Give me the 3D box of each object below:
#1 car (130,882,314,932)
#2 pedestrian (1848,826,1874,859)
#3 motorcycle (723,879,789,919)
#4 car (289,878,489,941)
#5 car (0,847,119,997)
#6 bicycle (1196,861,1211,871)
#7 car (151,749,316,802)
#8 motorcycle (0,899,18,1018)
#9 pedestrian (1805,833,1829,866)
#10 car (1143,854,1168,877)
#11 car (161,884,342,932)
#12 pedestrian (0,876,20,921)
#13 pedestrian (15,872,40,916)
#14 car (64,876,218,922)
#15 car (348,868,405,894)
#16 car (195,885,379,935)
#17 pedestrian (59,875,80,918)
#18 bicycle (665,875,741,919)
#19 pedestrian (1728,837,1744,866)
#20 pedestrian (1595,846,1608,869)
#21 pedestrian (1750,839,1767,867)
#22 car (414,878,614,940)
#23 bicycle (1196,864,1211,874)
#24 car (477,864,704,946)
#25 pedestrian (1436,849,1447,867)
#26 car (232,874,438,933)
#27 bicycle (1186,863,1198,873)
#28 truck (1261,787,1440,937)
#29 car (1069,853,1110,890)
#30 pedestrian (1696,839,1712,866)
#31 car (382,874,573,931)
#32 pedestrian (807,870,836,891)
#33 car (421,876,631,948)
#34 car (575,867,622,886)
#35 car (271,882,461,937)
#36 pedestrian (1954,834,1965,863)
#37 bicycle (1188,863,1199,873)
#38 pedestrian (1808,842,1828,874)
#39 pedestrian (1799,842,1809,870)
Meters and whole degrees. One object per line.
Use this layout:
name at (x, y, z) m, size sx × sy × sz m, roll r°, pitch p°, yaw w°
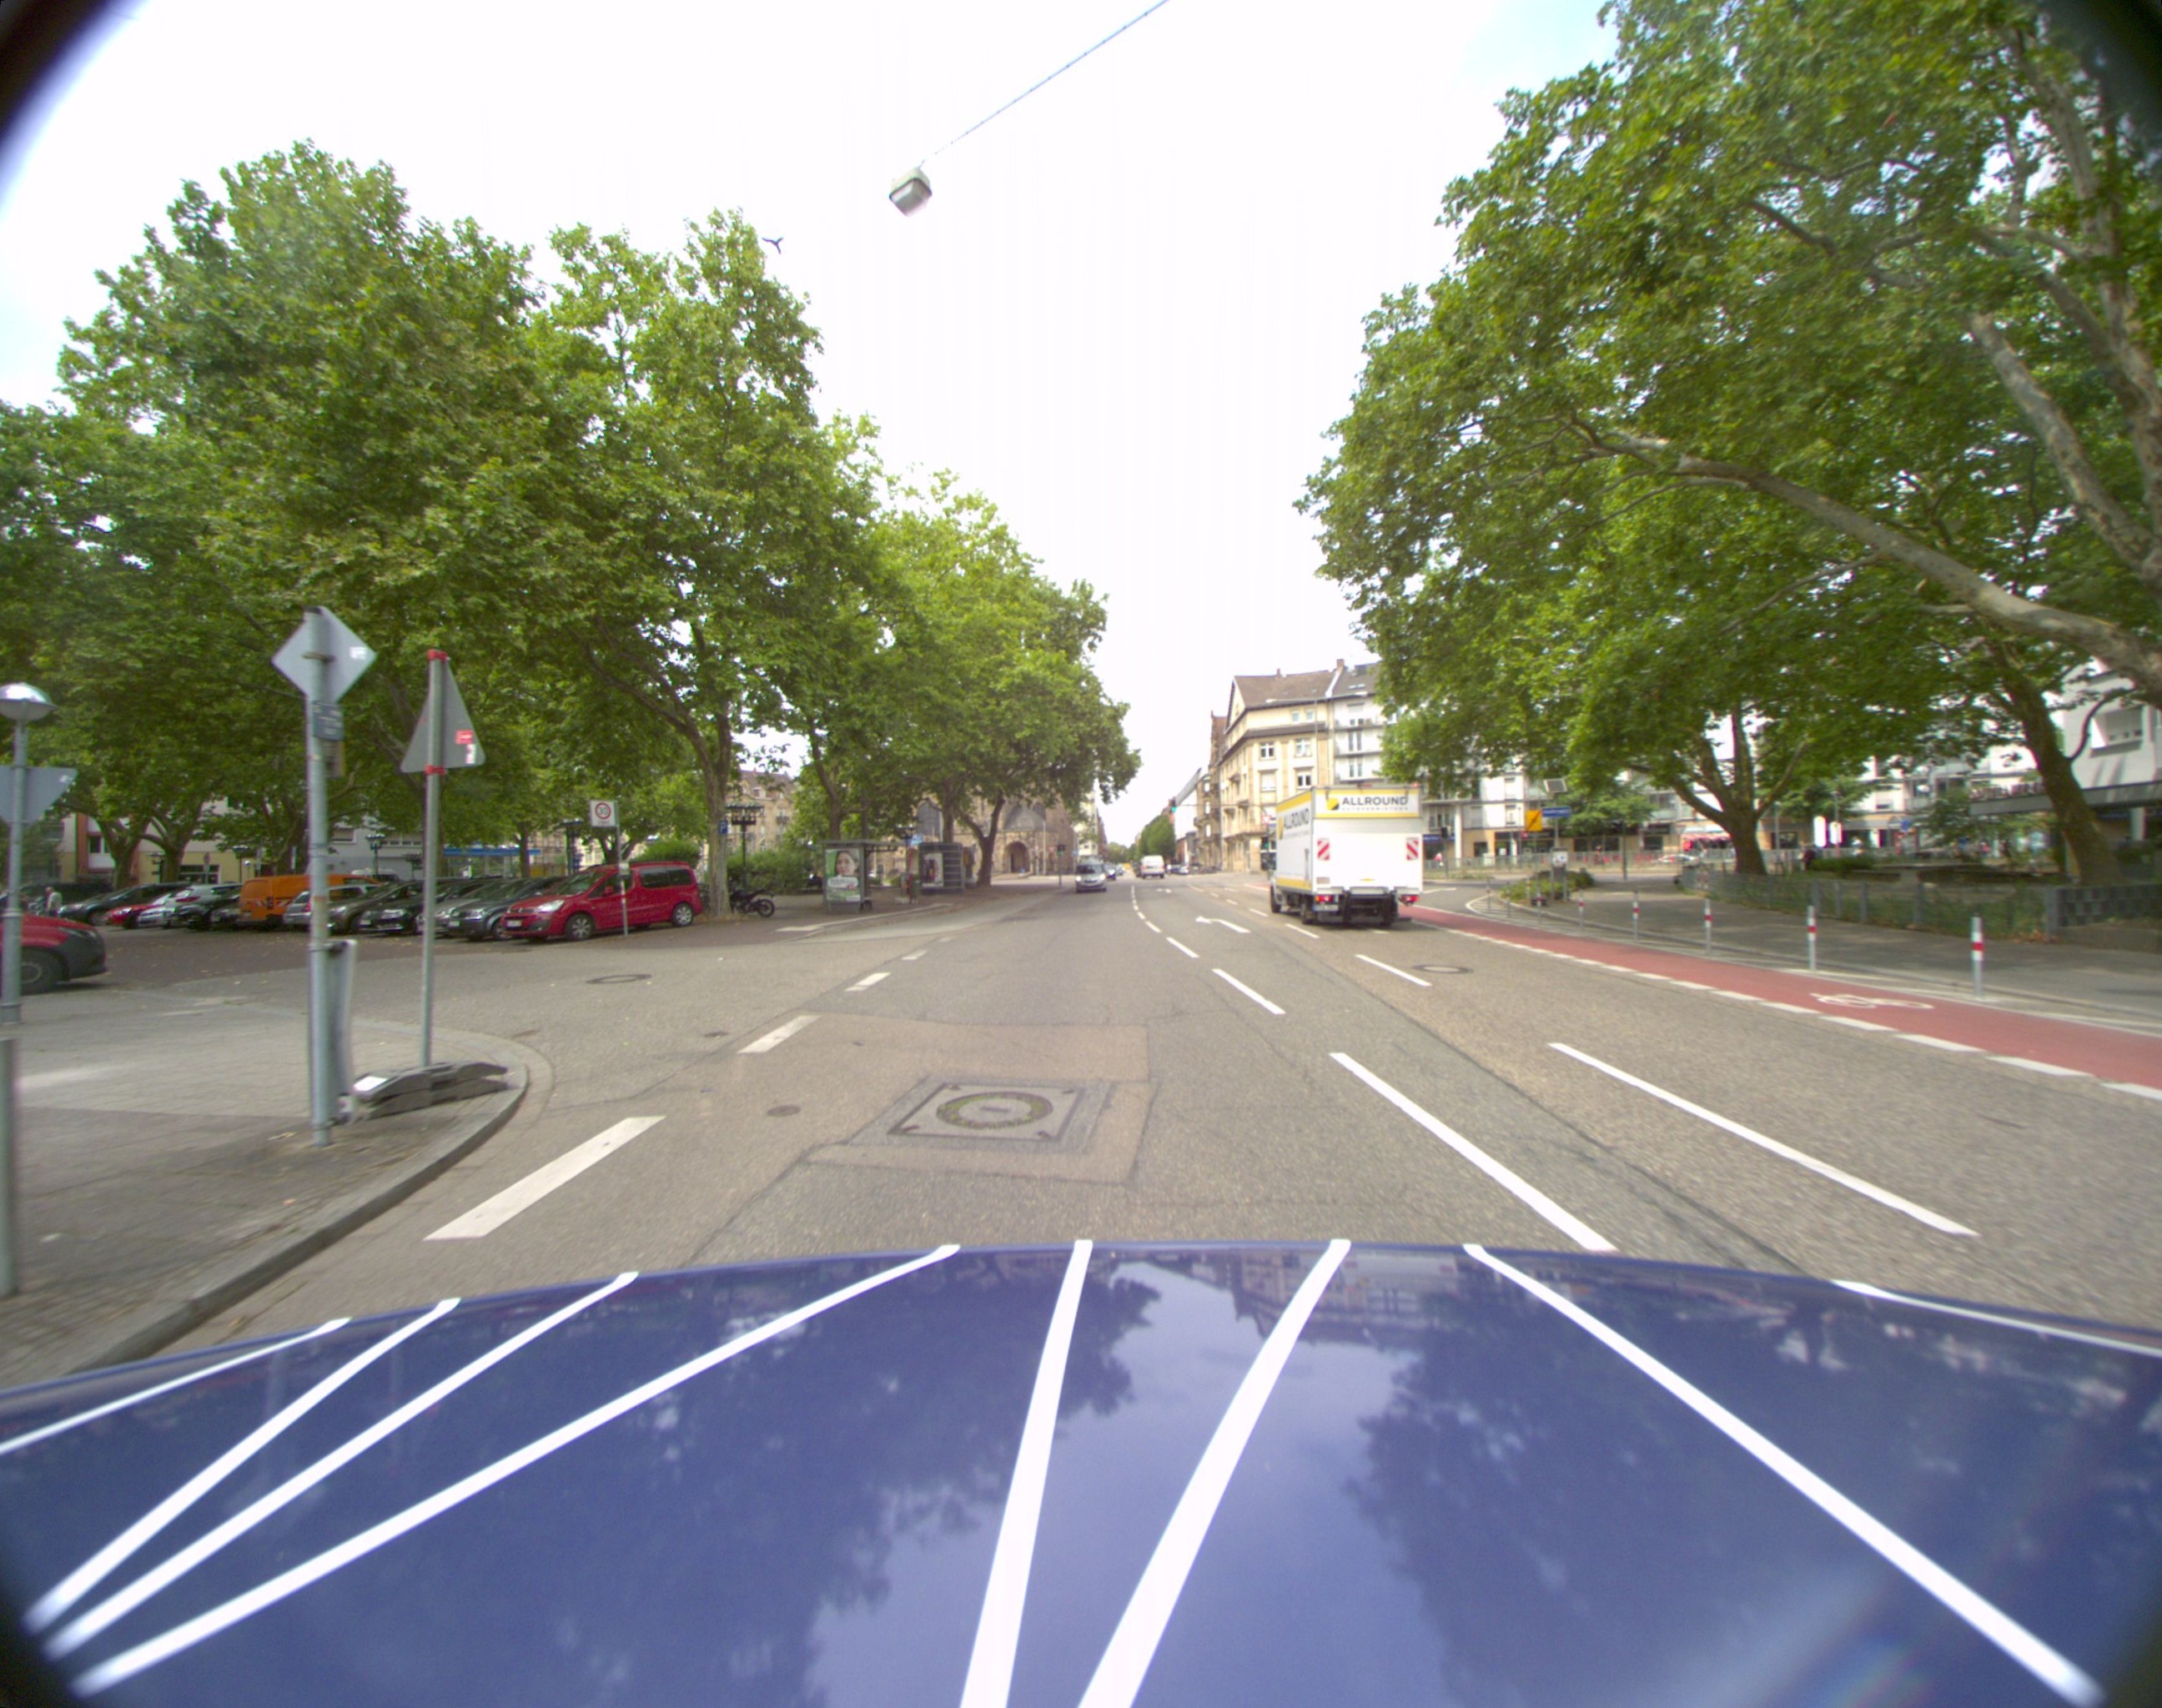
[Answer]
car at (-32.592, 1.958, 29.005) m, size 1.995 × 1.608 × 4.211 m, roll -1°, pitch 0°, yaw 23°
pedestrian at (48.385, -0.688, 47.142) m, size 0.871 × 2.001 × 0.854 m, roll -1°, pitch -1°, yaw 26°
motorcycle at (-10.329, 1.439, 24.193) m, size 1.858 × 1.215 × 0.531 m, roll -1°, pitch -1°, yaw 0°
car at (-20.816, 1.589, 23.071) m, size 1.995 × 1.589 × 4.006 m, roll -1°, pitch 0°, yaw 23°
car at (-16.848, 0.996, 9.977) m, size 1.995 × 2.137 × 4.852 m, roll -1°, pitch 0°, yaw 26°
bicycle at (15.560, 1.563, 96.568) m, size 1.821 × 1.185 × 0.397 m, roll -4°, pitch -1°, yaw 0°
car at (-34.216, -3.118, 30.813) m, size 1.995 × 1.630 × 4.007 m, roll -1°, pitch -1°, yaw 24°
motorcycle at (-13.955, 1.272, 8.464) m, size 0.833 × 1.453 × 2.309 m, roll -1°, pitch -1°, yaw 14°
pedestrian at (37.622, -0.230, 38.847) m, size 0.683 × 1.626 × 0.697 m, roll -1°, pitch 0°, yaw 24°
car at (6.568, 0.994, 67.578) m, size 1.928 × 1.925 × 4.949 m, roll -2°, pitch -1°, yaw 3°
car at (-30.167, 1.909, 27.781) m, size 1.995 × 1.455 × 4.006 m, roll -1°, pitch 0°, yaw 23°
pedestrian at (-43.452, 1.811, 30.754) m, size 0.447 × 1.802 × 0.436 m, roll -1°, pitch -1°, yaw 13°
pedestrian at (-44.193, 1.681, 31.874) m, size 0.435 × 1.802 × 0.448 m, roll -1°, pitch -1°, yaw 12°
car at (-42.844, 2.000, 34.752) m, size 1.913 × 1.805 × 4.006 m, roll -1°, pitch 0°, yaw 22°
car at (-59.536, 2.265, 64.230) m, size 4.018 × 2.095 × 2.003 m, roll -1°, pitch -1°, yaw 23°
car at (-27.888, 1.895, 26.859) m, size 1.995 × 1.455 × 4.006 m, roll -1°, pitch 0°, yaw 23°
pedestrian at (-42.782, 1.797, 32.138) m, size 0.447 × 1.802 × 0.436 m, roll -1°, pitch -1°, yaw 23°
bicycle at (-12.471, 1.385, 25.134) m, size 0.419 × 1.369 × 2.316 m, roll -1°, pitch -1°, yaw 35°
pedestrian at (49.896, -0.182, 57.867) m, size 0.756 × 2.237 × 0.762 m, roll -1°, pitch 0°, yaw 28°
pedestrian at (36.284, 0.248, 52.977) m, size 0.597 × 1.543 × 0.671 m, roll -1°, pitch 0°, yaw 26°
pedestrian at (49.952, -0.055, 56.059) m, size 0.756 × 2.001 × 0.762 m, roll -1°, pitch 0°, yaw 28°
car at (-15.999, 1.481, 21.701) m, size 1.747 × 1.455 × 4.192 m, roll -1°, pitch 0°, yaw 27°
bicycle at (15.437, 1.918, 95.630) m, size 1.830 × 1.185 × 0.398 m, roll -3°, pitch -1°, yaw 2°
car at (-11.883, 1.141, 18.791) m, size 1.934 × 1.696 × 4.337 m, roll -1°, pitch 0°, yaw 23°
pedestrian at (31.190, 0.315, 65.769) m, size 0.837 × 1.542 × 0.869 m, roll -2°, pitch -1°, yaw 26°
car at (-25.194, 1.595, 25.896) m, size 1.995 × 1.685 × 4.567 m, roll -1°, pitch 0°, yaw 23°
bicycle at (14.315, 1.839, 98.045) m, size 1.345 × 1.185 × 0.397 m, roll -4°, pitch 0°, yaw -4°
truck at (6.423, 0.159, 19.330) m, size 2.546 × 3.089 × 7.023 m, roll 1°, pitch 0°, yaw 5°
car at (0.578, 0.988, 44.348) m, size 2.081 × 2.038 × 4.682 m, roll -1°, pitch -1°, yaw 4°
pedestrian at (46.901, -0.083, 57.233) m, size 0.756 × 2.001 × 0.762 m, roll -1°, pitch 0°, yaw 28°
car at (-17.995, 1.383, 22.895) m, size 1.995 × 1.455 × 4.006 m, roll -1°, pitch 0°, yaw 23°
pedestrian at (-15.294, 1.543, 44.716) m, size 1.096 × 1.206 × 1.143 m, roll -1°, pitch 0°, yaw 28°
car at (-14.176, 1.401, 19.689) m, size 1.828 × 1.543 × 4.006 m, roll -1°, pitch 0°, yaw 23°
car at (-50.237, 2.337, 79.073) m, size 4.371 × 1.866 × 2.004 m, roll -2°, pitch -1°, yaw 24°
car at (-23.105, 1.732, 24.733) m, size 1.995 × 1.455 × 4.006 m, roll -1°, pitch 0°, yaw 23°
pedestrian at (59.504, -0.386, 51.471) m, size 0.312 × 1.942 × 0.326 m, roll -1°, pitch 0°, yaw 17°
bicycle at (14.632, 1.868, 98.759) m, size 1.345 × 1.185 × 0.397 m, roll -4°, pitch -1°, yaw 1°
pedestrian at (38.069, 0.196, 39.242) m, size 0.505 × 1.614 × 0.697 m, roll -1°, pitch 0°, yaw 24°
pedestrian at (53.238, 0.145, 55.929) m, size 0.368 × 2.001 × 0.503 m, roll -1°, pitch 0°, yaw 26°
